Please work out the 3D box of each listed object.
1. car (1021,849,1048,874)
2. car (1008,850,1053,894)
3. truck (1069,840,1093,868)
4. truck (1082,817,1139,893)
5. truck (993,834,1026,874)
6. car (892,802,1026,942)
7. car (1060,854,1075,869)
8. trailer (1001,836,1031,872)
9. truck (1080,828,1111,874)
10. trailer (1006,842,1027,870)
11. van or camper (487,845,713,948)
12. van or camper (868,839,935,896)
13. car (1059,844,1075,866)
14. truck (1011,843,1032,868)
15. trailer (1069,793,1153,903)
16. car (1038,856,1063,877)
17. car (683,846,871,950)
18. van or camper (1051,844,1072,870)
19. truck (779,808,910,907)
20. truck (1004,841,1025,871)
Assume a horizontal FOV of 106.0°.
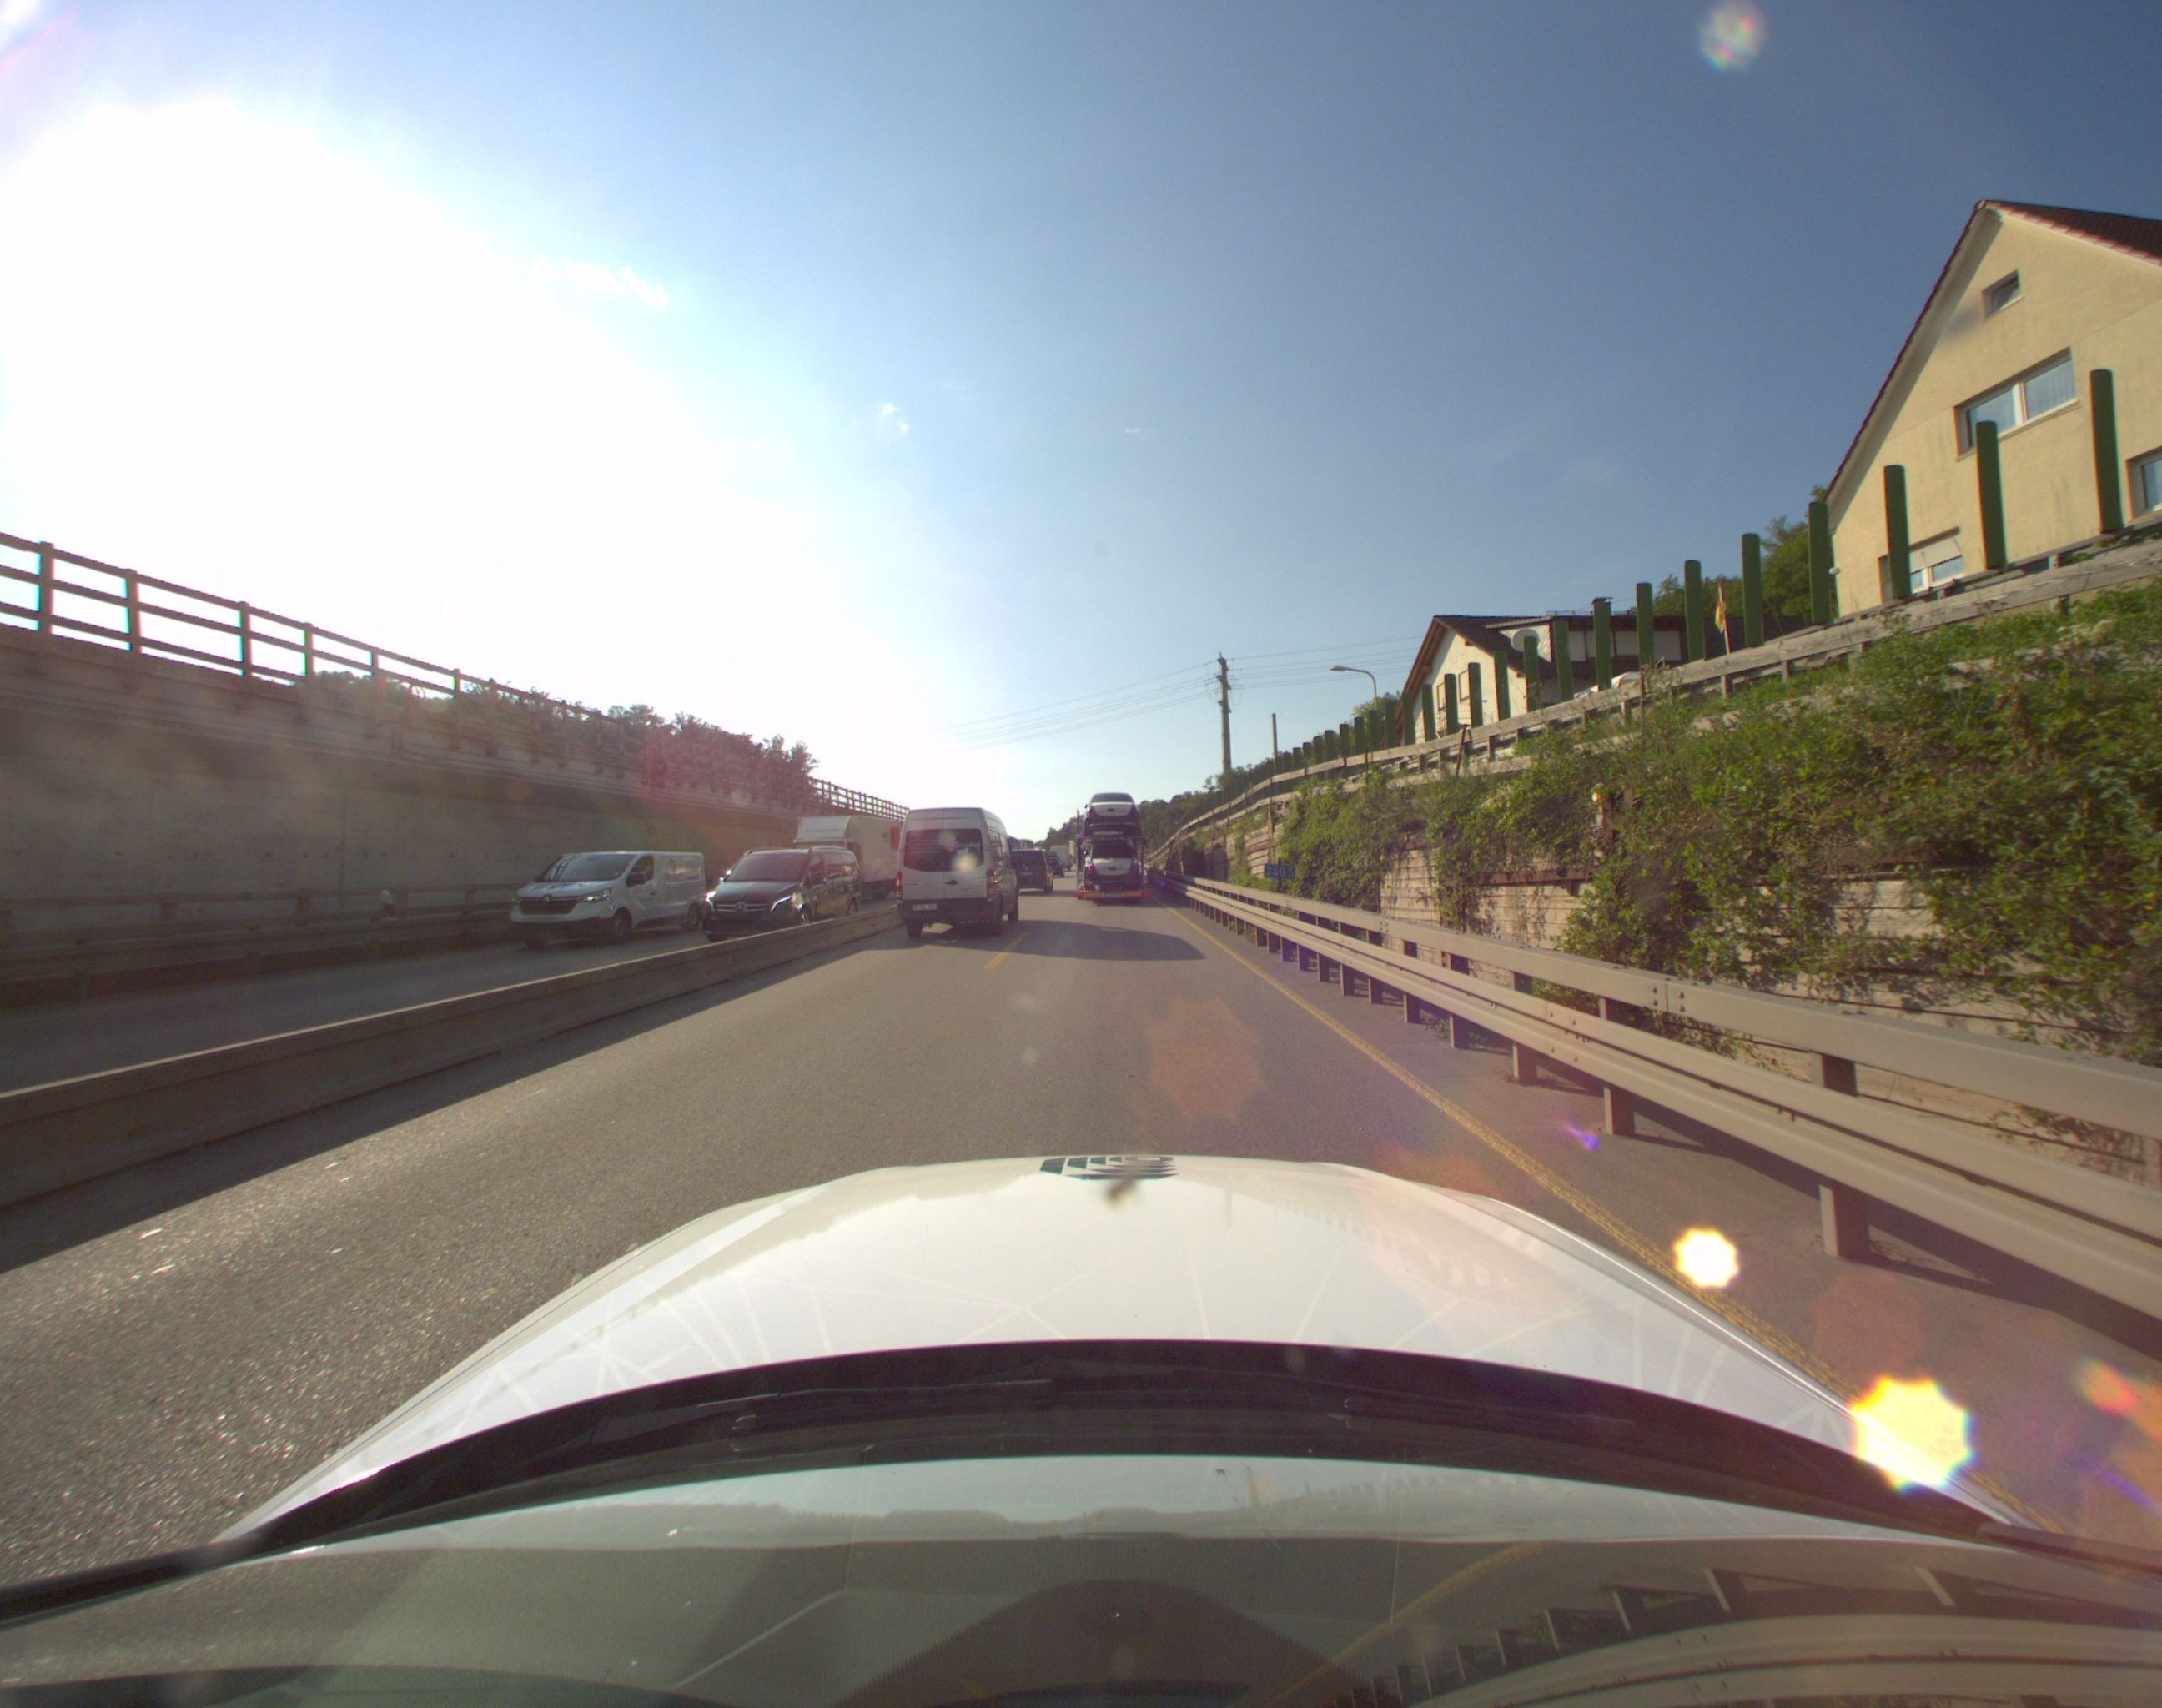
[{"bbox_3d":[-4.820,0.813,85.277,2.463,2.534,4.000,-1,-1,1],"label":"car"},{"bbox_3d":[-2.241,0.818,37.156,1.802,1.904,3.999,0,-2,0],"label":"car"},{"bbox_3d":[0.012,0.063,145.304,4.051,4.679,10.592,-1,-1,1],"label":"truck"},{"bbox_3d":[1.509,0.097,41.678,2.672,3.535,7.196,-1,-1,2],"label":"truck"},{"bbox_3d":[-8.006,0.016,92.498,2.616,4.112,9.625,-4,0,0],"label":"truck"},{"bbox_3d":[-2.548,0.355,18.512,1.986,2.648,5.532,-2,0,2],"label":"car"},{"bbox_3d":[-1.859,1.047,112.982,1.879,2.100,3.766,-1,-1,1],"label":"car"},{"bbox_3d":[-8.065,0.017,102.177,2.598,4.112,9.626,-4,0,0],"label":"trailer"},{"bbox_3d":[1.426,-0.306,86.021,2.899,4.606,7.281,-1,-1,-1],"label":"truck"},{"bbox_3d":[-9.724,0.319,123.651,2.703,4.093,12.556,-1,0,-2],"label":"trailer"},{"bbox_3d":[-10.161,0.822,17.787,1.910,1.922,4.923,0,-1,1],"label":"van or camper"},{"bbox_3d":[-10.198,0.803,46.893,2.312,2.989,6.223,-2,-1,0],"label":"van or camper"},{"bbox_3d":[-3.380,0.194,191.171,3.437,5.035,9.641,-1,-1,-3],"label":"car"},{"bbox_3d":[-10.428,0.258,144.938,2.975,4.153,15.842,-1,-1,-2],"label":"truck"},{"bbox_3d":[1.251,-0.060,34.112,2.672,3.535,15.294,-1,-1,2],"label":"trailer"},{"bbox_3d":[-2.267,0.903,61.738,1.719,1.522,3.973,0,0,0],"label":"car"},{"bbox_3d":[-6.318,0.838,17.737,1.978,1.922,5.292,0,-1,1],"label":"car"},{"bbox_3d":[-2.027,0.358,84.585,1.962,2.592,5.041,0,-1,0],"label":"van or camper"},{"bbox_3d":[-9.398,0.204,33.478,2.705,3.424,8.141,-4,-1,1],"label":"truck"},{"bbox_3d":[-9.441,0.249,115.996,2.704,4.093,6.196,-1,0,-3],"label":"truck"}]
